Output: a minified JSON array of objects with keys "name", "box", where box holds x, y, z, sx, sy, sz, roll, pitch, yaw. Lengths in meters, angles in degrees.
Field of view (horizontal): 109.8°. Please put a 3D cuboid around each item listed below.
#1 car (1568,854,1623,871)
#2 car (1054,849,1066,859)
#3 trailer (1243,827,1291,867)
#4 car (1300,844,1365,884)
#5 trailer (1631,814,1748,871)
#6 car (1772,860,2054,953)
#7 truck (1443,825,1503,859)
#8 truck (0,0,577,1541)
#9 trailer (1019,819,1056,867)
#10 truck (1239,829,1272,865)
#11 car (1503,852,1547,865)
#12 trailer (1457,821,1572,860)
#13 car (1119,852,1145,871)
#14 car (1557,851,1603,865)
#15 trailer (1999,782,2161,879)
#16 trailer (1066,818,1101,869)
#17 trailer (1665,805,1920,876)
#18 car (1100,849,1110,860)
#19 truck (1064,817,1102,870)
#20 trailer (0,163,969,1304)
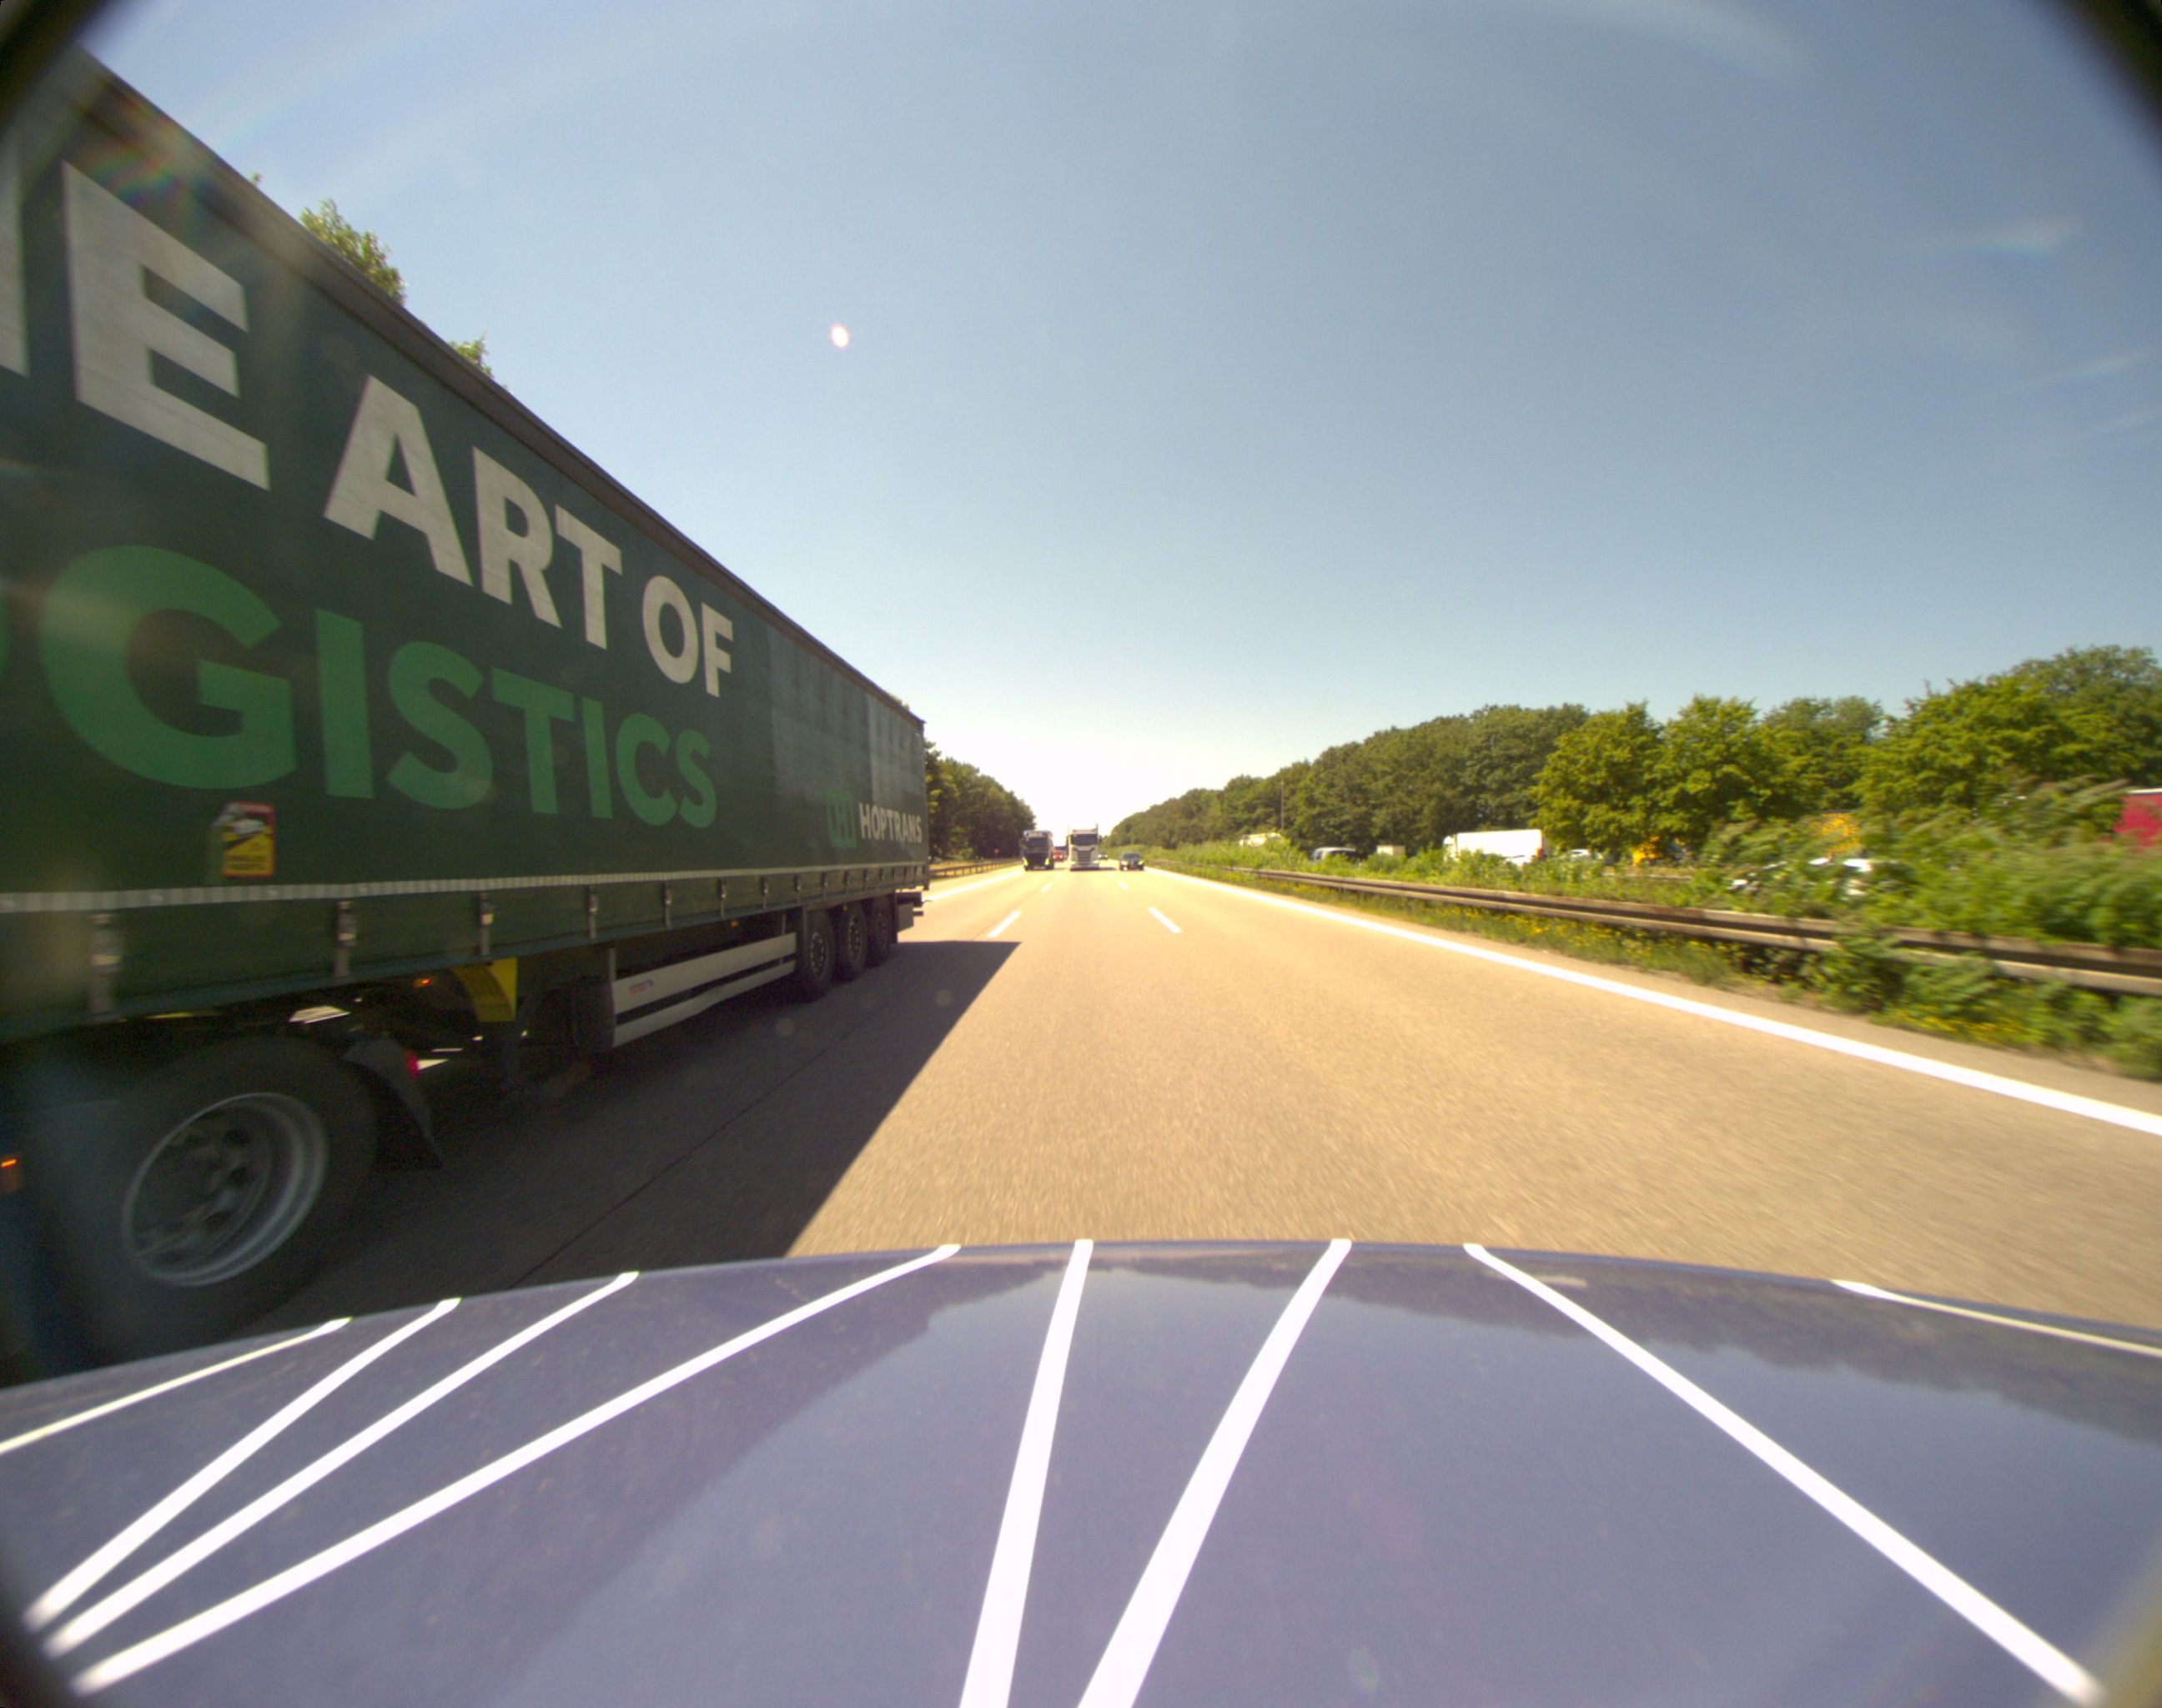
[{"name":"car","box":[45.869,0.768,67.850,1.740,1.447,3.996,-1,0,-11]},{"name":"car","box":[-3.452,-0.050,126.493,1.811,1.612,4.000,0,0,1]},{"name":"trailer","box":[20.959,-0.831,86.234,2.889,4.239,10.838,0,0,0]},{"name":"car","box":[13.097,0.482,39.848,1.998,1.913,4.201,-2,1,1]},{"name":"trailer","box":[47.586,-0.885,59.719,3.612,4.239,6.591,0,1,-5]},{"name":"car","box":[16.931,0.977,15.756,1.917,1.562,3.590,-2,1,1]},{"name":"truck","box":[49.510,-1.507,96.189,3.613,4.239,6.263,-1,1,-11]},{"name":"truck","box":[-4.154,-0.373,0.496,2.863,4.247,6.863,-2,1,0]},{"name":"trailer","box":[-4.094,-1.002,74.094,2.863,4.247,11.470,-1,0,0]},{"name":"truck","box":[20.983,-0.866,91.523,2.889,4.239,4.819,0,1,0]},{"name":"car","box":[45.195,0.400,77.438,1.740,1.281,3.996,-1,0,-11]},{"name":"trailer","box":[50.739,-1.473,89.835,3.613,4.239,14.008,-1,0,-11]},{"name":"car","box":[4.078,0.562,60.998,1.811,1.399,4.000,-2,0,1]},{"name":"car","box":[52.044,0.409,79.374,1.740,1.447,3.996,-1,0,-11]},{"name":"trailer","box":[49.366,-1.028,32.187,3.611,4.239,14.018,0,0,-2]},{"name":"trailer","box":[0.286,-0.951,70.560,2.863,4.247,11.470,-2,1,1]},{"name":"trailer","box":[48.230,-0.843,52.727,3.612,4.239,14.015,0,0,-5]},{"name":"car","box":[4.317,0.045,135.770,1.806,1.774,4.000,-1,1,1]},{"name":"truck","box":[0.200,-0.890,64.631,2.863,4.247,5.411,-2,1,1]},{"name":"trailer","box":[-4.149,-0.471,10.359,2.863,4.247,14.978,-2,1,0]}]
